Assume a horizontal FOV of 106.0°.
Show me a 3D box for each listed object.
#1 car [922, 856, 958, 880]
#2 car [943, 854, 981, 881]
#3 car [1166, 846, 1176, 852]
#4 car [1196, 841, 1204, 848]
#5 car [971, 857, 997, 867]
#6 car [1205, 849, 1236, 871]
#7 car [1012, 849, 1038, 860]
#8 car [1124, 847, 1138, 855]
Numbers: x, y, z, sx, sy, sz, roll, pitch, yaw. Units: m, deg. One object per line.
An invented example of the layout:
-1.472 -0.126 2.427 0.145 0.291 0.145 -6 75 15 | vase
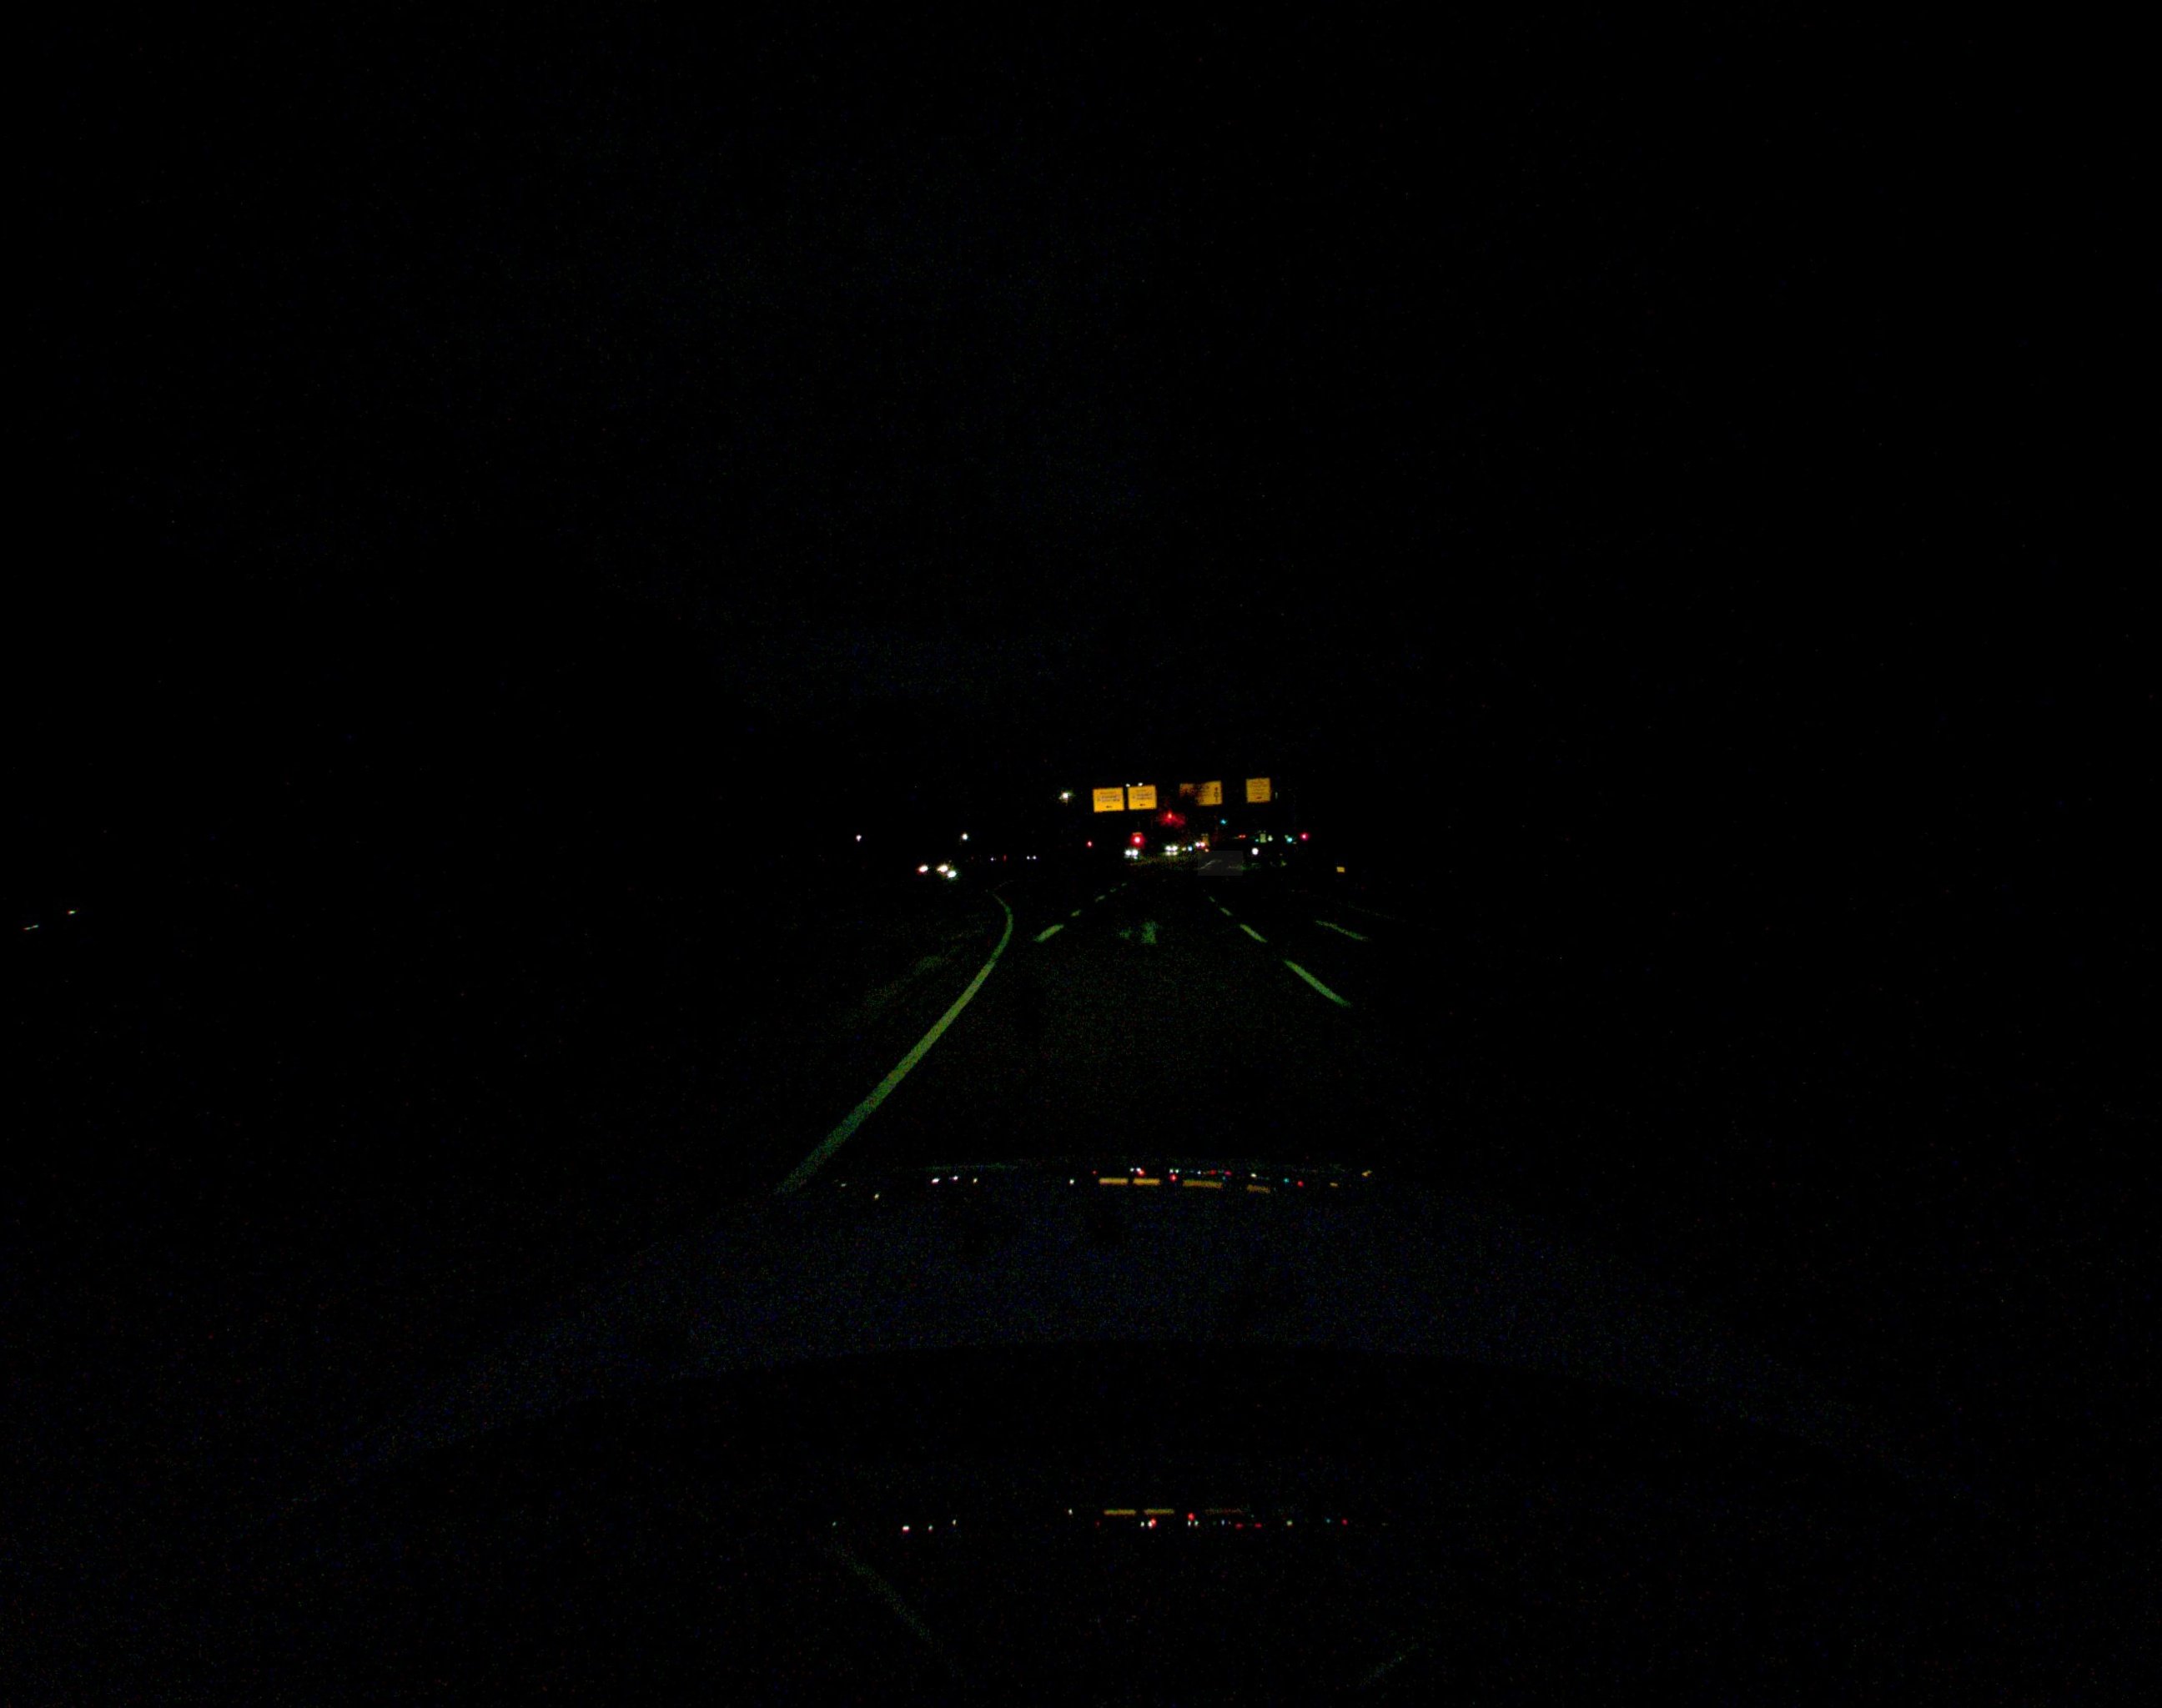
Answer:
-10.215 1.002 59.212 1.694 1.623 4.309 -2 0 2 | car
-7.468 0.842 51.538 1.687 1.533 4.001 -2 0 1 | car
21.450 -1.225 194.169 1.980 1.481 4.698 -2 1 12 | car
33.219 -2.617 227.324 1.980 1.698 4.014 -2 1 12 | car
-16.180 1.331 135.981 3.966 1.473 1.733 -2 0 7 | car
10.884 0.446 63.434 1.993 1.611 3.861 1 0 15 | car
-9.398 0.078 137.886 4.015 1.537 1.734 -2 0 10 | car
10.036 -0.630 162.793 1.980 1.425 4.548 -2 1 12 | car
